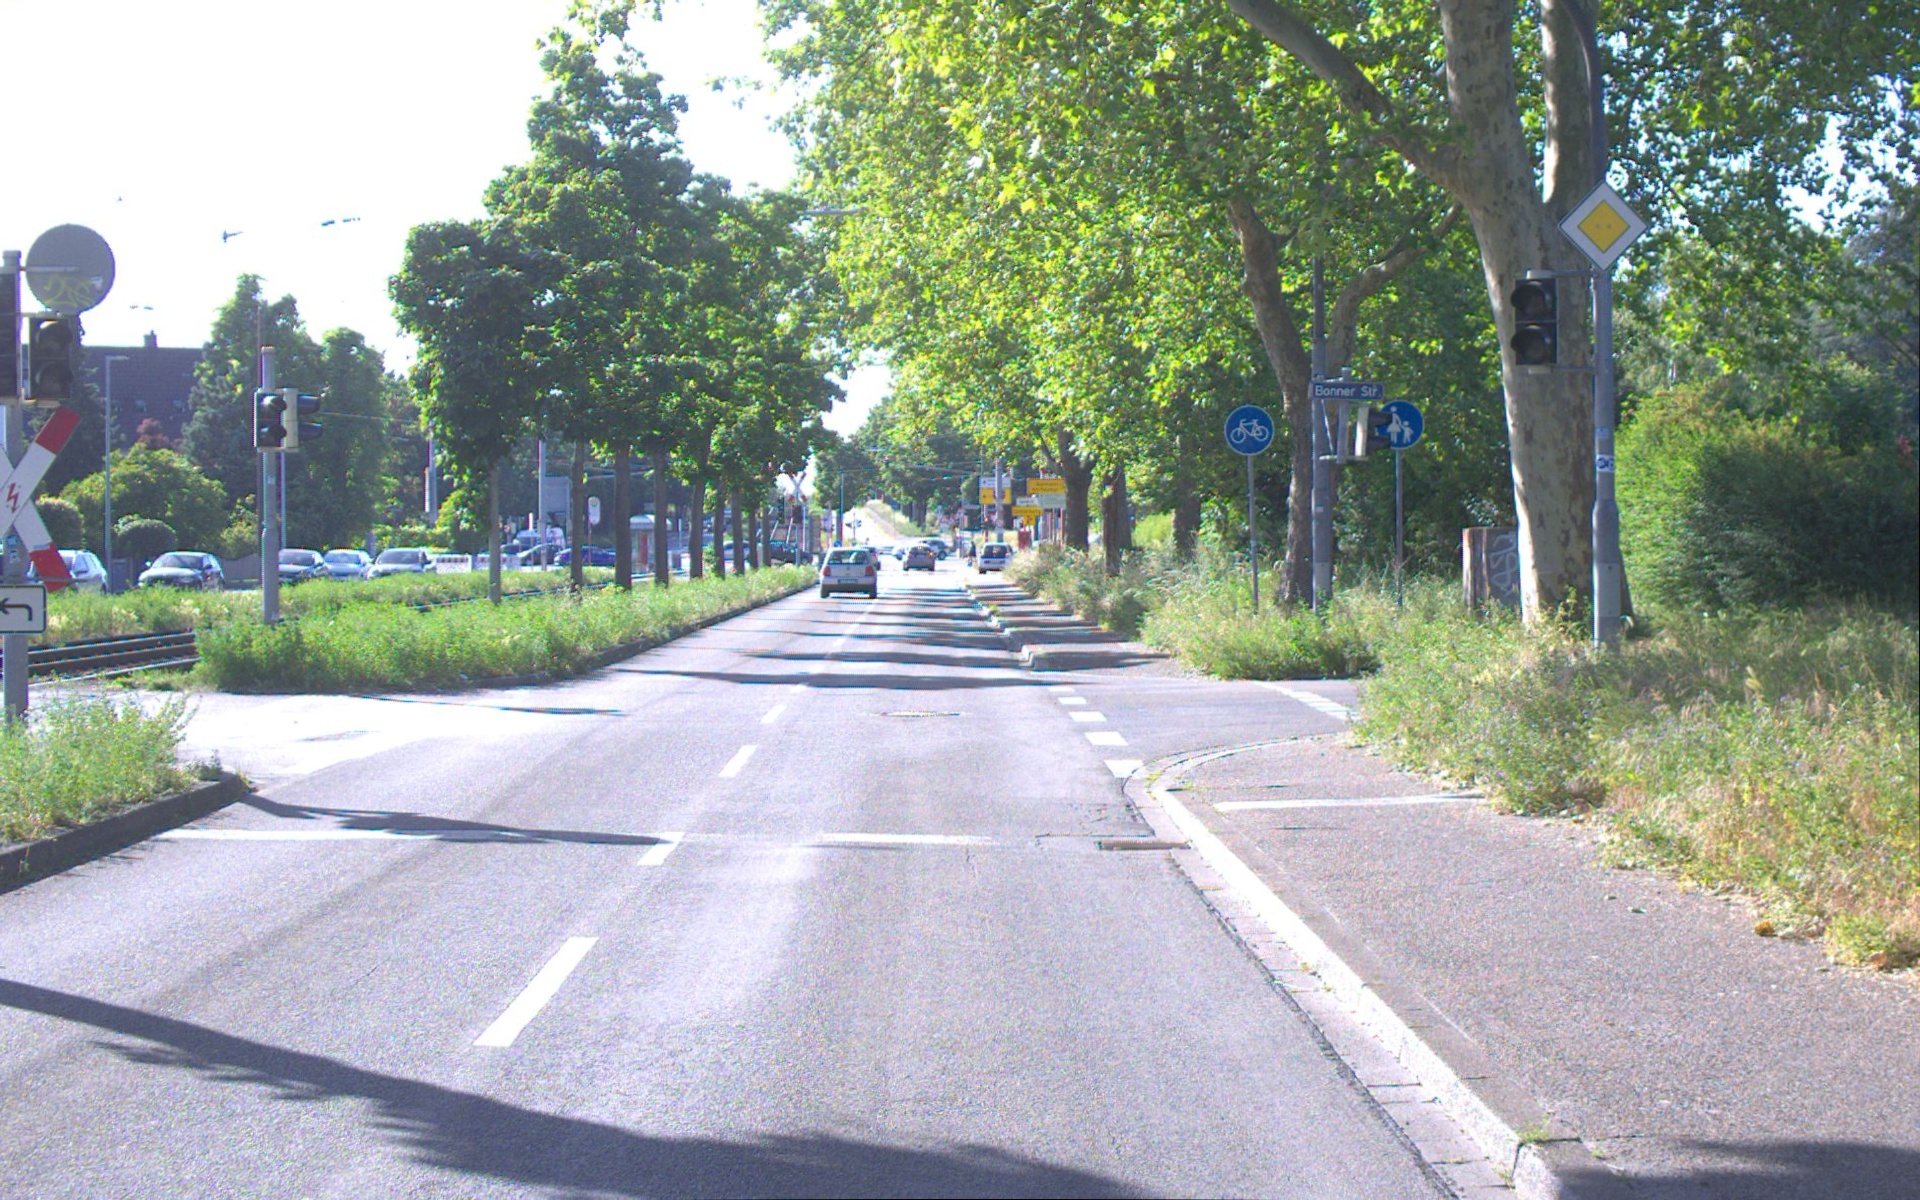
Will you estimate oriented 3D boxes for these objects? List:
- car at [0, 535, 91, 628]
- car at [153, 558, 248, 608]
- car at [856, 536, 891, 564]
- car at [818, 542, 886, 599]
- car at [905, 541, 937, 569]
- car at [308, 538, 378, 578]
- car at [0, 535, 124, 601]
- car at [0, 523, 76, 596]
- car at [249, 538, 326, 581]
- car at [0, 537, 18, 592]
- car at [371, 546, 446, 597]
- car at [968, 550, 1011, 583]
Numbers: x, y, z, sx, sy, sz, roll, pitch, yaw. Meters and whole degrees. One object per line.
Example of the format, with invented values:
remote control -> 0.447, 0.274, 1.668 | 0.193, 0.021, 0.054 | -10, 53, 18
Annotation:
car -> -17.121, -0.361, 61.621 | 1.993, 1.598, 4.474 | 1, 1, -1
car -> -22.034, -0.505, 99.882 | 1.860, 1.365, 4.228 | 1, 1, -1
car -> -5.088, -2.941, 202.629 | 1.993, 1.598, 4.474 | 1, 1, -1
car -> -3.111, -0.861, 99.641 | 1.860, 1.595, 4.228 | 1, 1, -1
car -> -2.271, -2.599, 198.333 | 1.791, 1.554, 4.228 | 1, 1, -1
car -> -22.964, -1.568, 128.082 | 1.860, 1.426, 4.462 | 1, 1, -1
car -> -22.437, -0.806, 85.779 | 1.993, 1.540, 4.780 | 1, 1, 0
car -> -22.199, -0.961, 80.683 | 1.748, 1.645, 4.555 | 1, 1, -1
car -> -23.113, -1.384, 118.212 | 1.860, 1.408, 4.158 | 1, 1, -1
car -> -28.131, -1.041, 94.517 | 3.918, 1.447, 1.889 | 2, 2, 0
car -> -17.672, -0.929, 110.303 | 1.660, 1.547, 4.811 | 1, 1, -1
car -> 1.451, -1.690, 172.089 | 1.993, 1.598, 4.474 | 1, 1, -1
